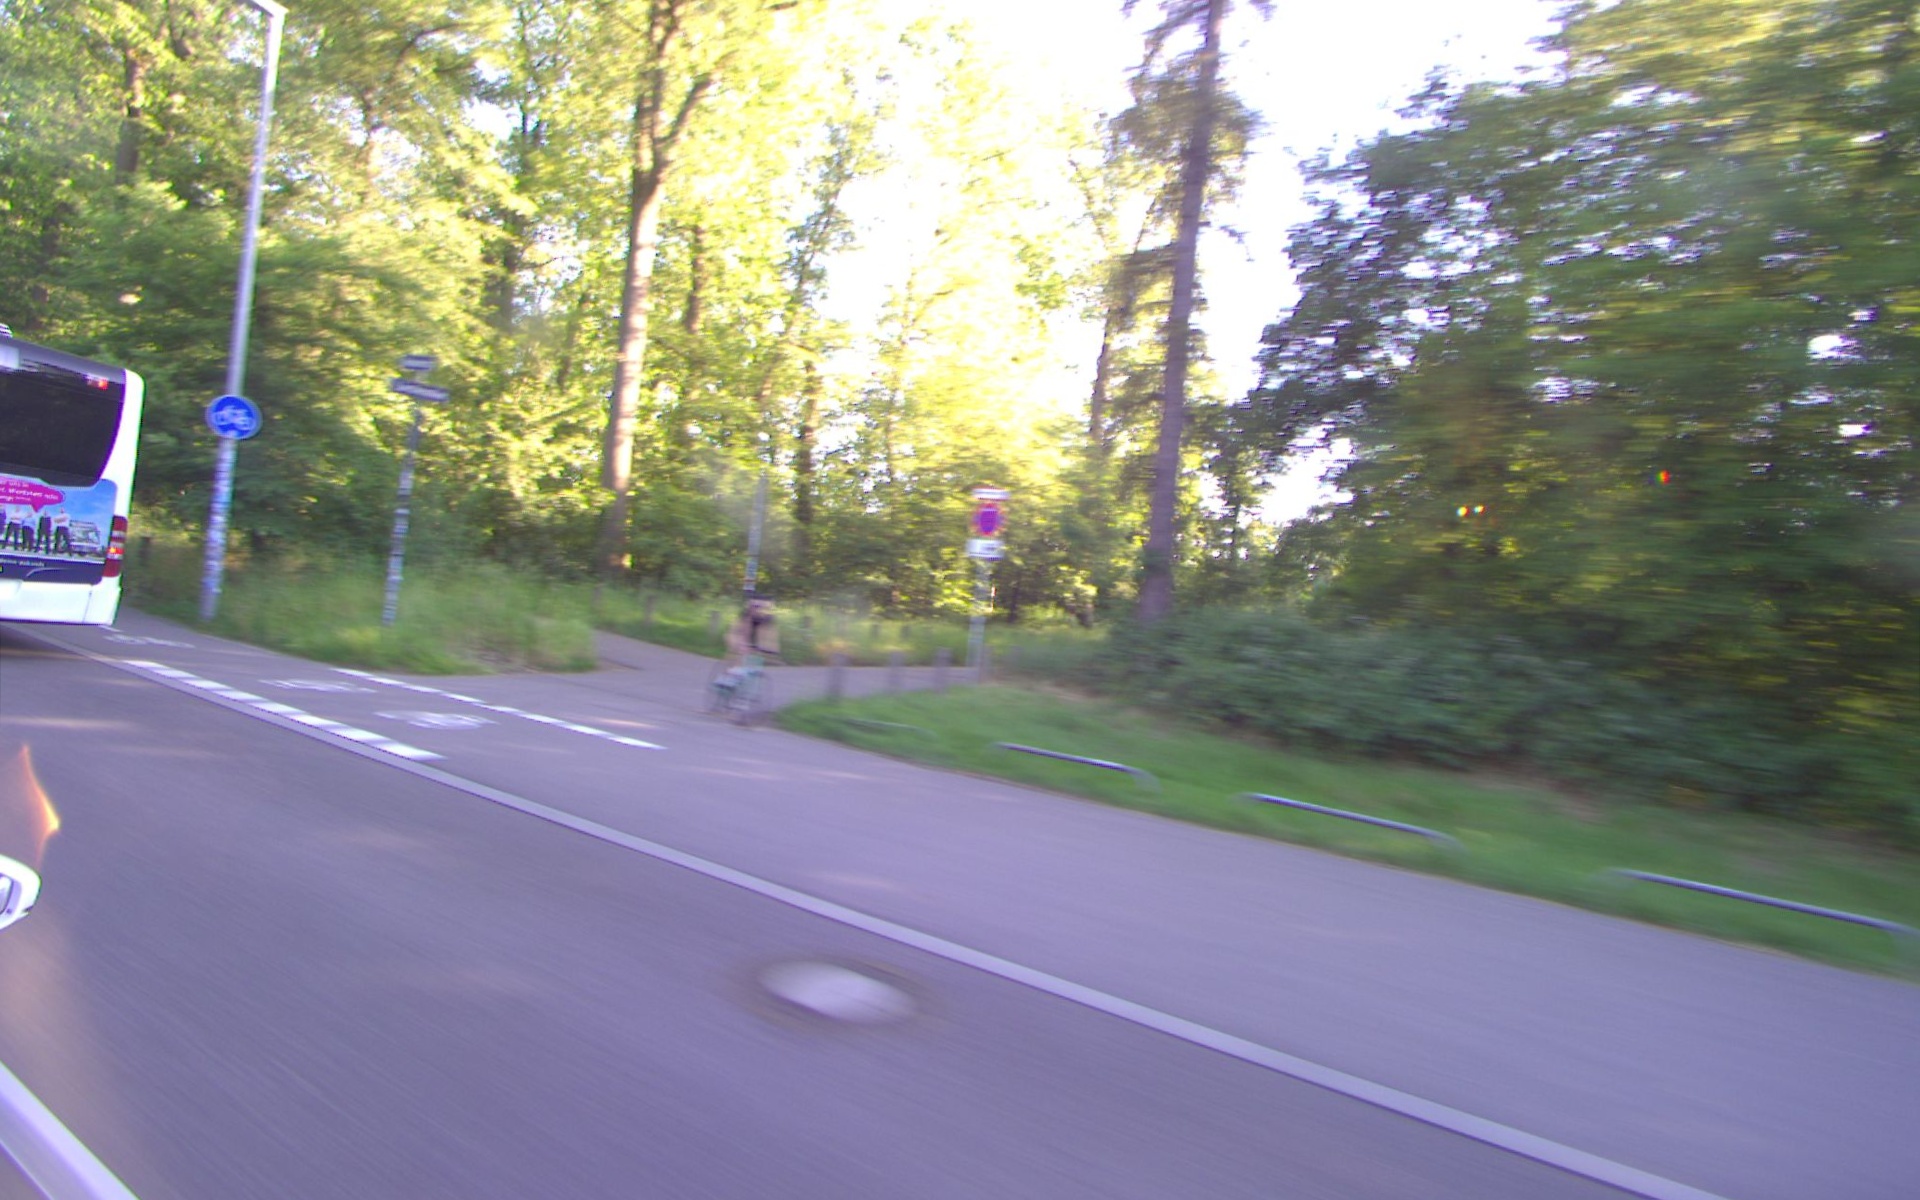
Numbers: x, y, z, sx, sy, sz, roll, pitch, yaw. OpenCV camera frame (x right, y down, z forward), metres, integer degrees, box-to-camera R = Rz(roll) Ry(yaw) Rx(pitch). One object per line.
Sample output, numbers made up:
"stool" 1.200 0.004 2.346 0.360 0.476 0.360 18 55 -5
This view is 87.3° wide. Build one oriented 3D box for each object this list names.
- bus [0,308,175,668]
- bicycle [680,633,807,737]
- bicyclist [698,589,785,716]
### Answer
"bus" -13.508 -1.527 11.682 11.841 3.078 2.694 6 -1 31
"bicycle" -2.600 0.991 11.949 0.549 0.979 1.735 8 -1 -44
"bicyclist" -2.623 0.622 12.061 0.478 1.402 0.867 7 -1 -44
